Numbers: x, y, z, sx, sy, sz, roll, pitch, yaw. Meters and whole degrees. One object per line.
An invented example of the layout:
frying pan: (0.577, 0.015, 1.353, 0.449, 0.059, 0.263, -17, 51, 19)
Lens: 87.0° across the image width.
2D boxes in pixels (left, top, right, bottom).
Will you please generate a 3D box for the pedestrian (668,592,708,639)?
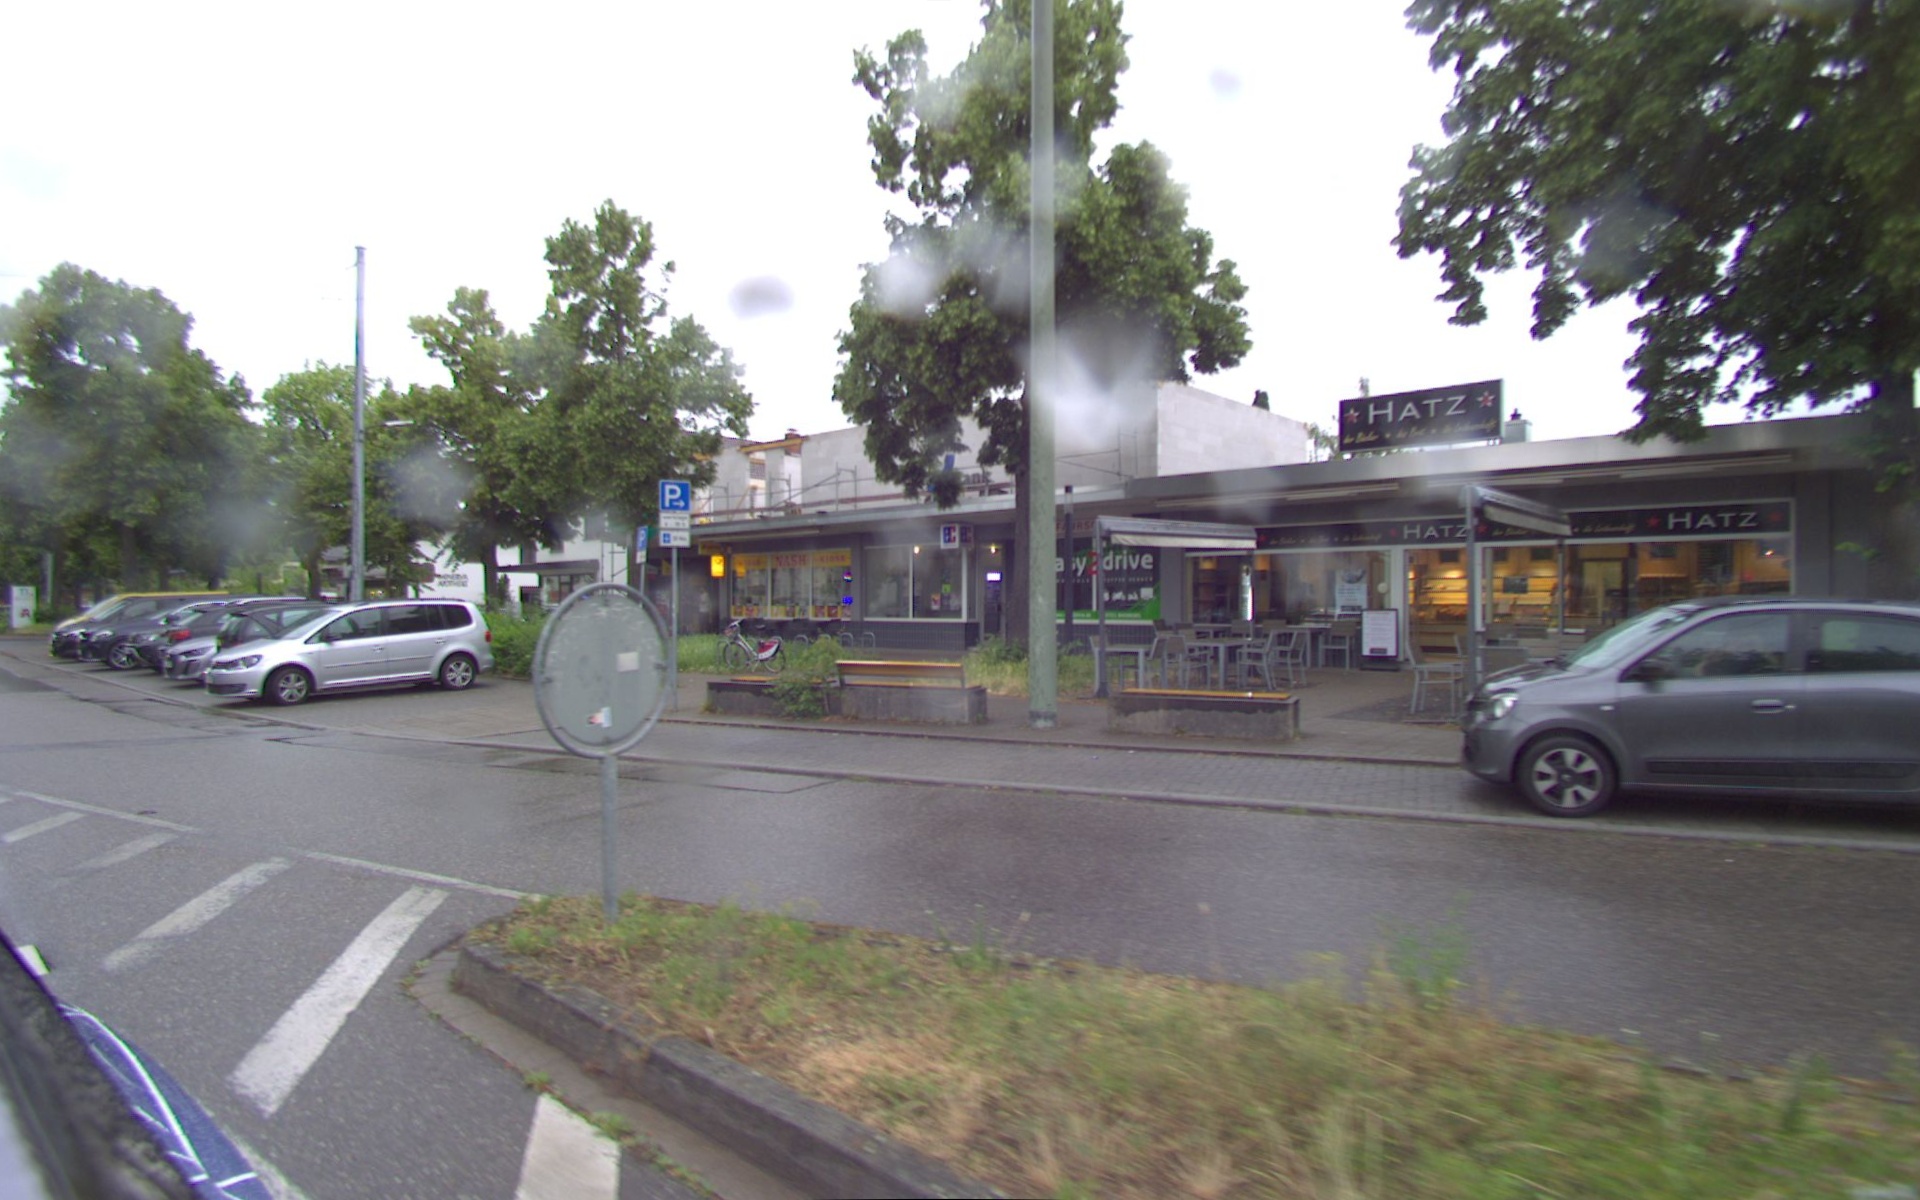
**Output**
pedestrian: (-9.517, 0.521, 35.365, 1.063, 1.596, 0.950, 0, 0, -38)

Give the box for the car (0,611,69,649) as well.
car: (-51.942, 1.676, 55.396, 1.897, 1.957, 4.489, -1, 1, 39)

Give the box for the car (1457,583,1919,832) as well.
car: (5.635, 0.671, 7.265, 3.600, 1.514, 1.540, -1, 1, 24)

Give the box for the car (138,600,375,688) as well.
car: (-15.821, 0.910, 22.922, 1.897, 1.722, 4.037, -1, 1, 40)

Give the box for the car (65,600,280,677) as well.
car: (-20.131, 0.919, 25.989, 1.897, 1.722, 4.037, -1, 1, 40)

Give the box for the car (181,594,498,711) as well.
car: (-10.634, 0.795, 17.593, 1.998, 1.686, 4.281, -1, 1, 40)

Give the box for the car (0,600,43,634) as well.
car: (-57.494, 1.026, 59.948, 1.897, 1.957, 4.489, -1, 1, 39)

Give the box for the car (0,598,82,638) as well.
car: (-49.751, 0.952, 53.711, 1.897, 1.957, 4.489, -1, 1, 39)

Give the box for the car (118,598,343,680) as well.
car: (-17.456, 0.866, 24.371, 1.897, 1.722, 4.037, -1, 1, 40)

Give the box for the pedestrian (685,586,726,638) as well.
pedestrian: (-8.650, 0.401, 34.371, 1.063, 1.727, 0.950, 0, 0, -38)

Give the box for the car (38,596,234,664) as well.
car: (-24.503, 0.832, 30.206, 1.897, 1.823, 4.249, -1, 1, 39)

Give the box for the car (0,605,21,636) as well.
car: (-63.263, 1.381, 64.726, 1.897, 1.957, 4.489, -1, 1, 40)

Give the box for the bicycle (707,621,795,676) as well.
bicycle: (-4.265, 0.966, 20.605, 1.740, 1.080, 0.589, 0, -1, 24)

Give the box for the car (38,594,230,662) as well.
car: (-26.391, 0.842, 32.457, 1.897, 1.957, 4.489, -1, 1, 39)

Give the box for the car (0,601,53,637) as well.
car: (-54.093, 1.073, 56.795, 1.897, 1.957, 4.489, -1, 1, 39)

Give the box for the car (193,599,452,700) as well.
car: (-12.299, 0.864, 19.720, 1.792, 1.686, 3.895, -1, 1, 39)

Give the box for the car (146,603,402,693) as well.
car: (-14.244, 0.917, 21.176, 1.998, 1.583, 4.037, -1, 1, 40)
